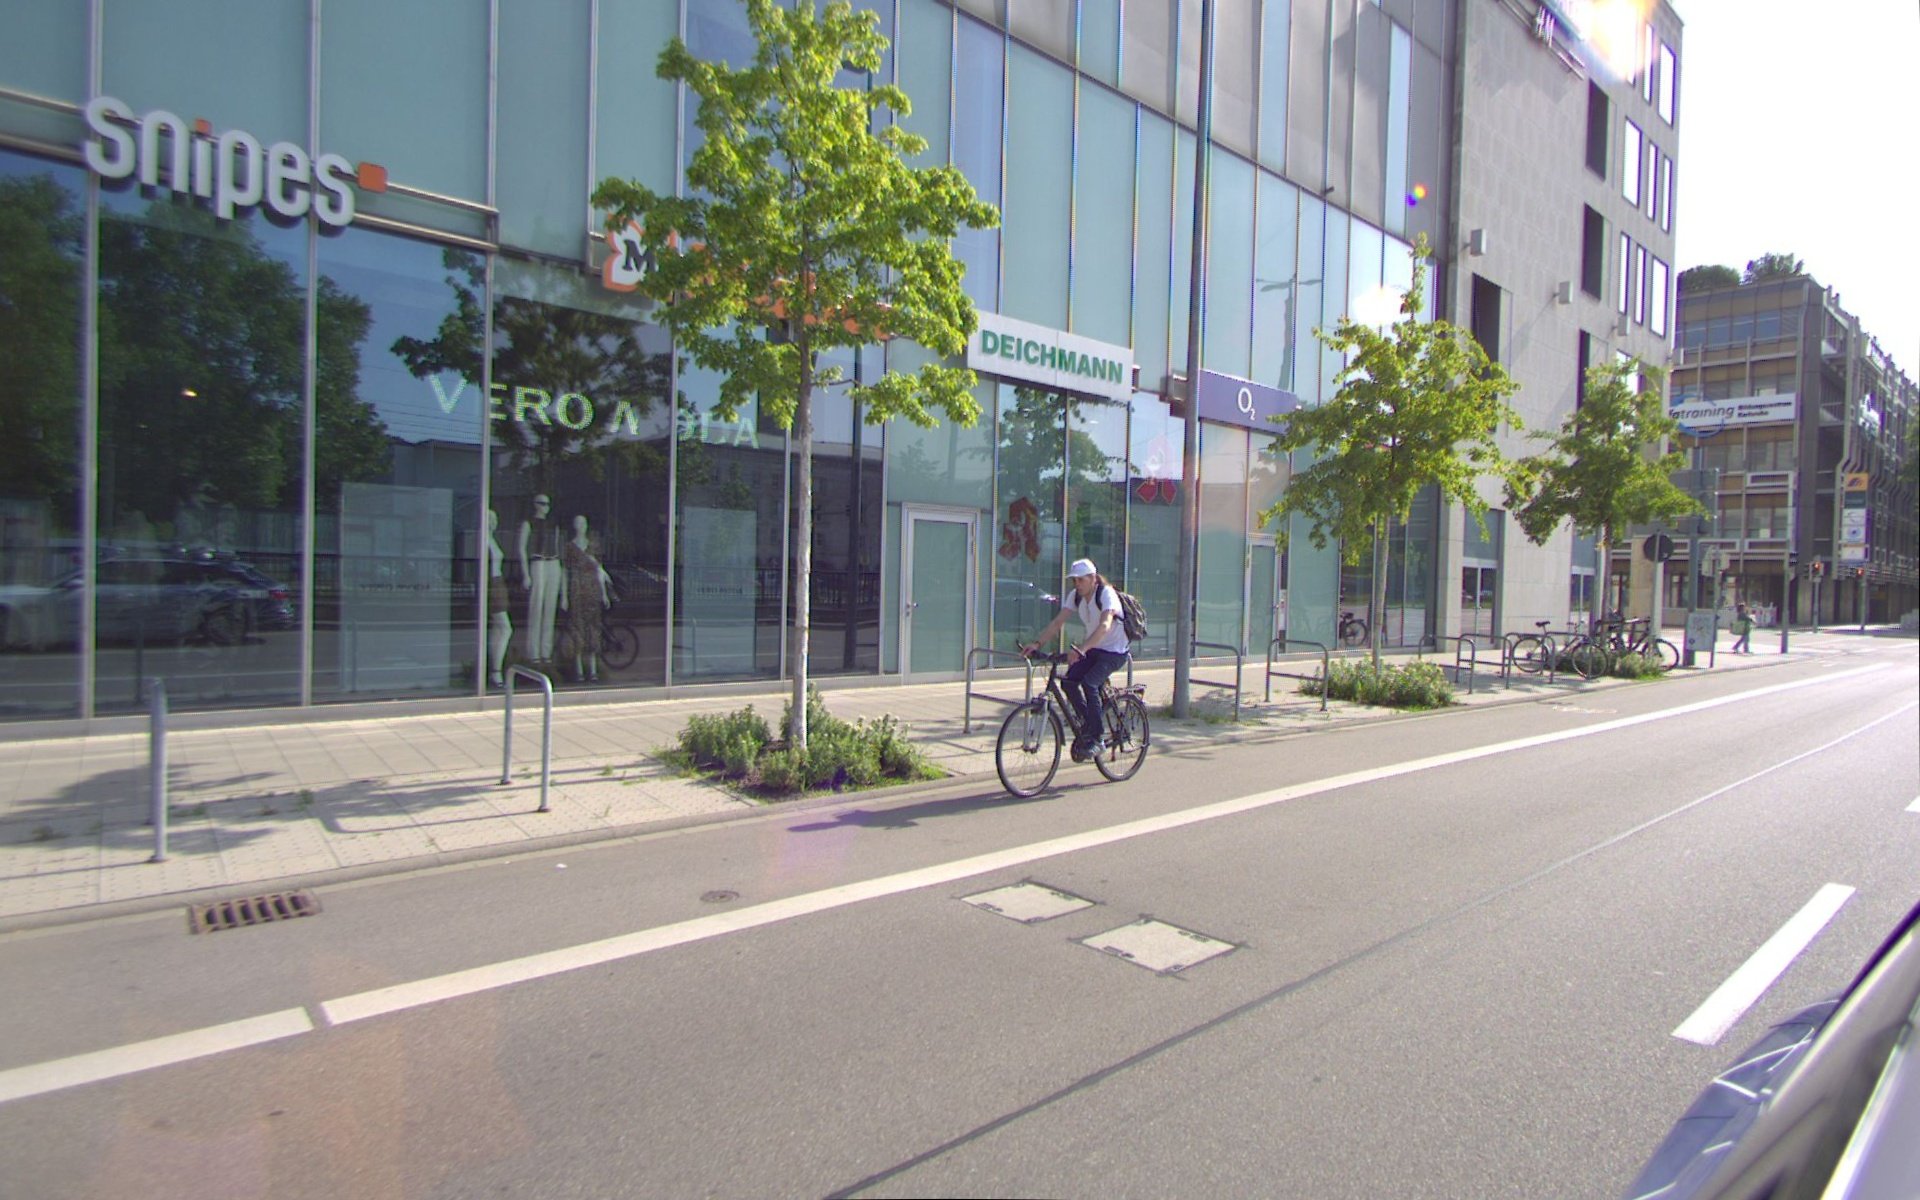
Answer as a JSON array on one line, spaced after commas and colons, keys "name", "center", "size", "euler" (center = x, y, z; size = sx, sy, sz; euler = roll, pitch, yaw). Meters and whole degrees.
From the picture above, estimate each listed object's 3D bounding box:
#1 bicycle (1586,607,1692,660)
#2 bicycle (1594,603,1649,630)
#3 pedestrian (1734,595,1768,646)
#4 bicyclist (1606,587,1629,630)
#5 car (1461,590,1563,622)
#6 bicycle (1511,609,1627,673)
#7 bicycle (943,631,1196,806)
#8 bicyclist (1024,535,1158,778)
[{"name": "bicycle", "center": [15.026, 0.719, 22.449], "size": [0.674, 1.127, 1.844], "euler": [1, 0, -38]}, {"name": "bicycle", "center": [27.533, 0.686, 42.172], "size": [0.601, 1.030, 1.806], "euler": [1, 1, -39]}, {"name": "pedestrian", "center": [23.878, 0.618, 30.546], "size": [0.708, 1.506, 0.595], "euler": [2, 1, 44]}, {"name": "bicyclist", "center": [27.455, 0.352, 42.277], "size": [0.572, 1.759, 0.636], "euler": [1, 1, -39]}, {"name": "car", "center": [26.816, 0.249, 49.266], "size": [1.842, 1.383, 3.906], "euler": [0, 2, -35]}, {"name": "bicycle", "center": [11.885, 0.777, 19.808], "size": [0.481, 1.123, 1.883], "euler": [1, 1, -38]}, {"name": "bicycle", "center": [0.886, 0.837, 7.786], "size": [2.013, 1.131, 0.663], "euler": [1, 1, -38]}, {"name": "bicyclist", "center": [1.015, 0.405, 7.870], "size": [0.755, 1.770, 0.653], "euler": [1, 1, -38]}]
